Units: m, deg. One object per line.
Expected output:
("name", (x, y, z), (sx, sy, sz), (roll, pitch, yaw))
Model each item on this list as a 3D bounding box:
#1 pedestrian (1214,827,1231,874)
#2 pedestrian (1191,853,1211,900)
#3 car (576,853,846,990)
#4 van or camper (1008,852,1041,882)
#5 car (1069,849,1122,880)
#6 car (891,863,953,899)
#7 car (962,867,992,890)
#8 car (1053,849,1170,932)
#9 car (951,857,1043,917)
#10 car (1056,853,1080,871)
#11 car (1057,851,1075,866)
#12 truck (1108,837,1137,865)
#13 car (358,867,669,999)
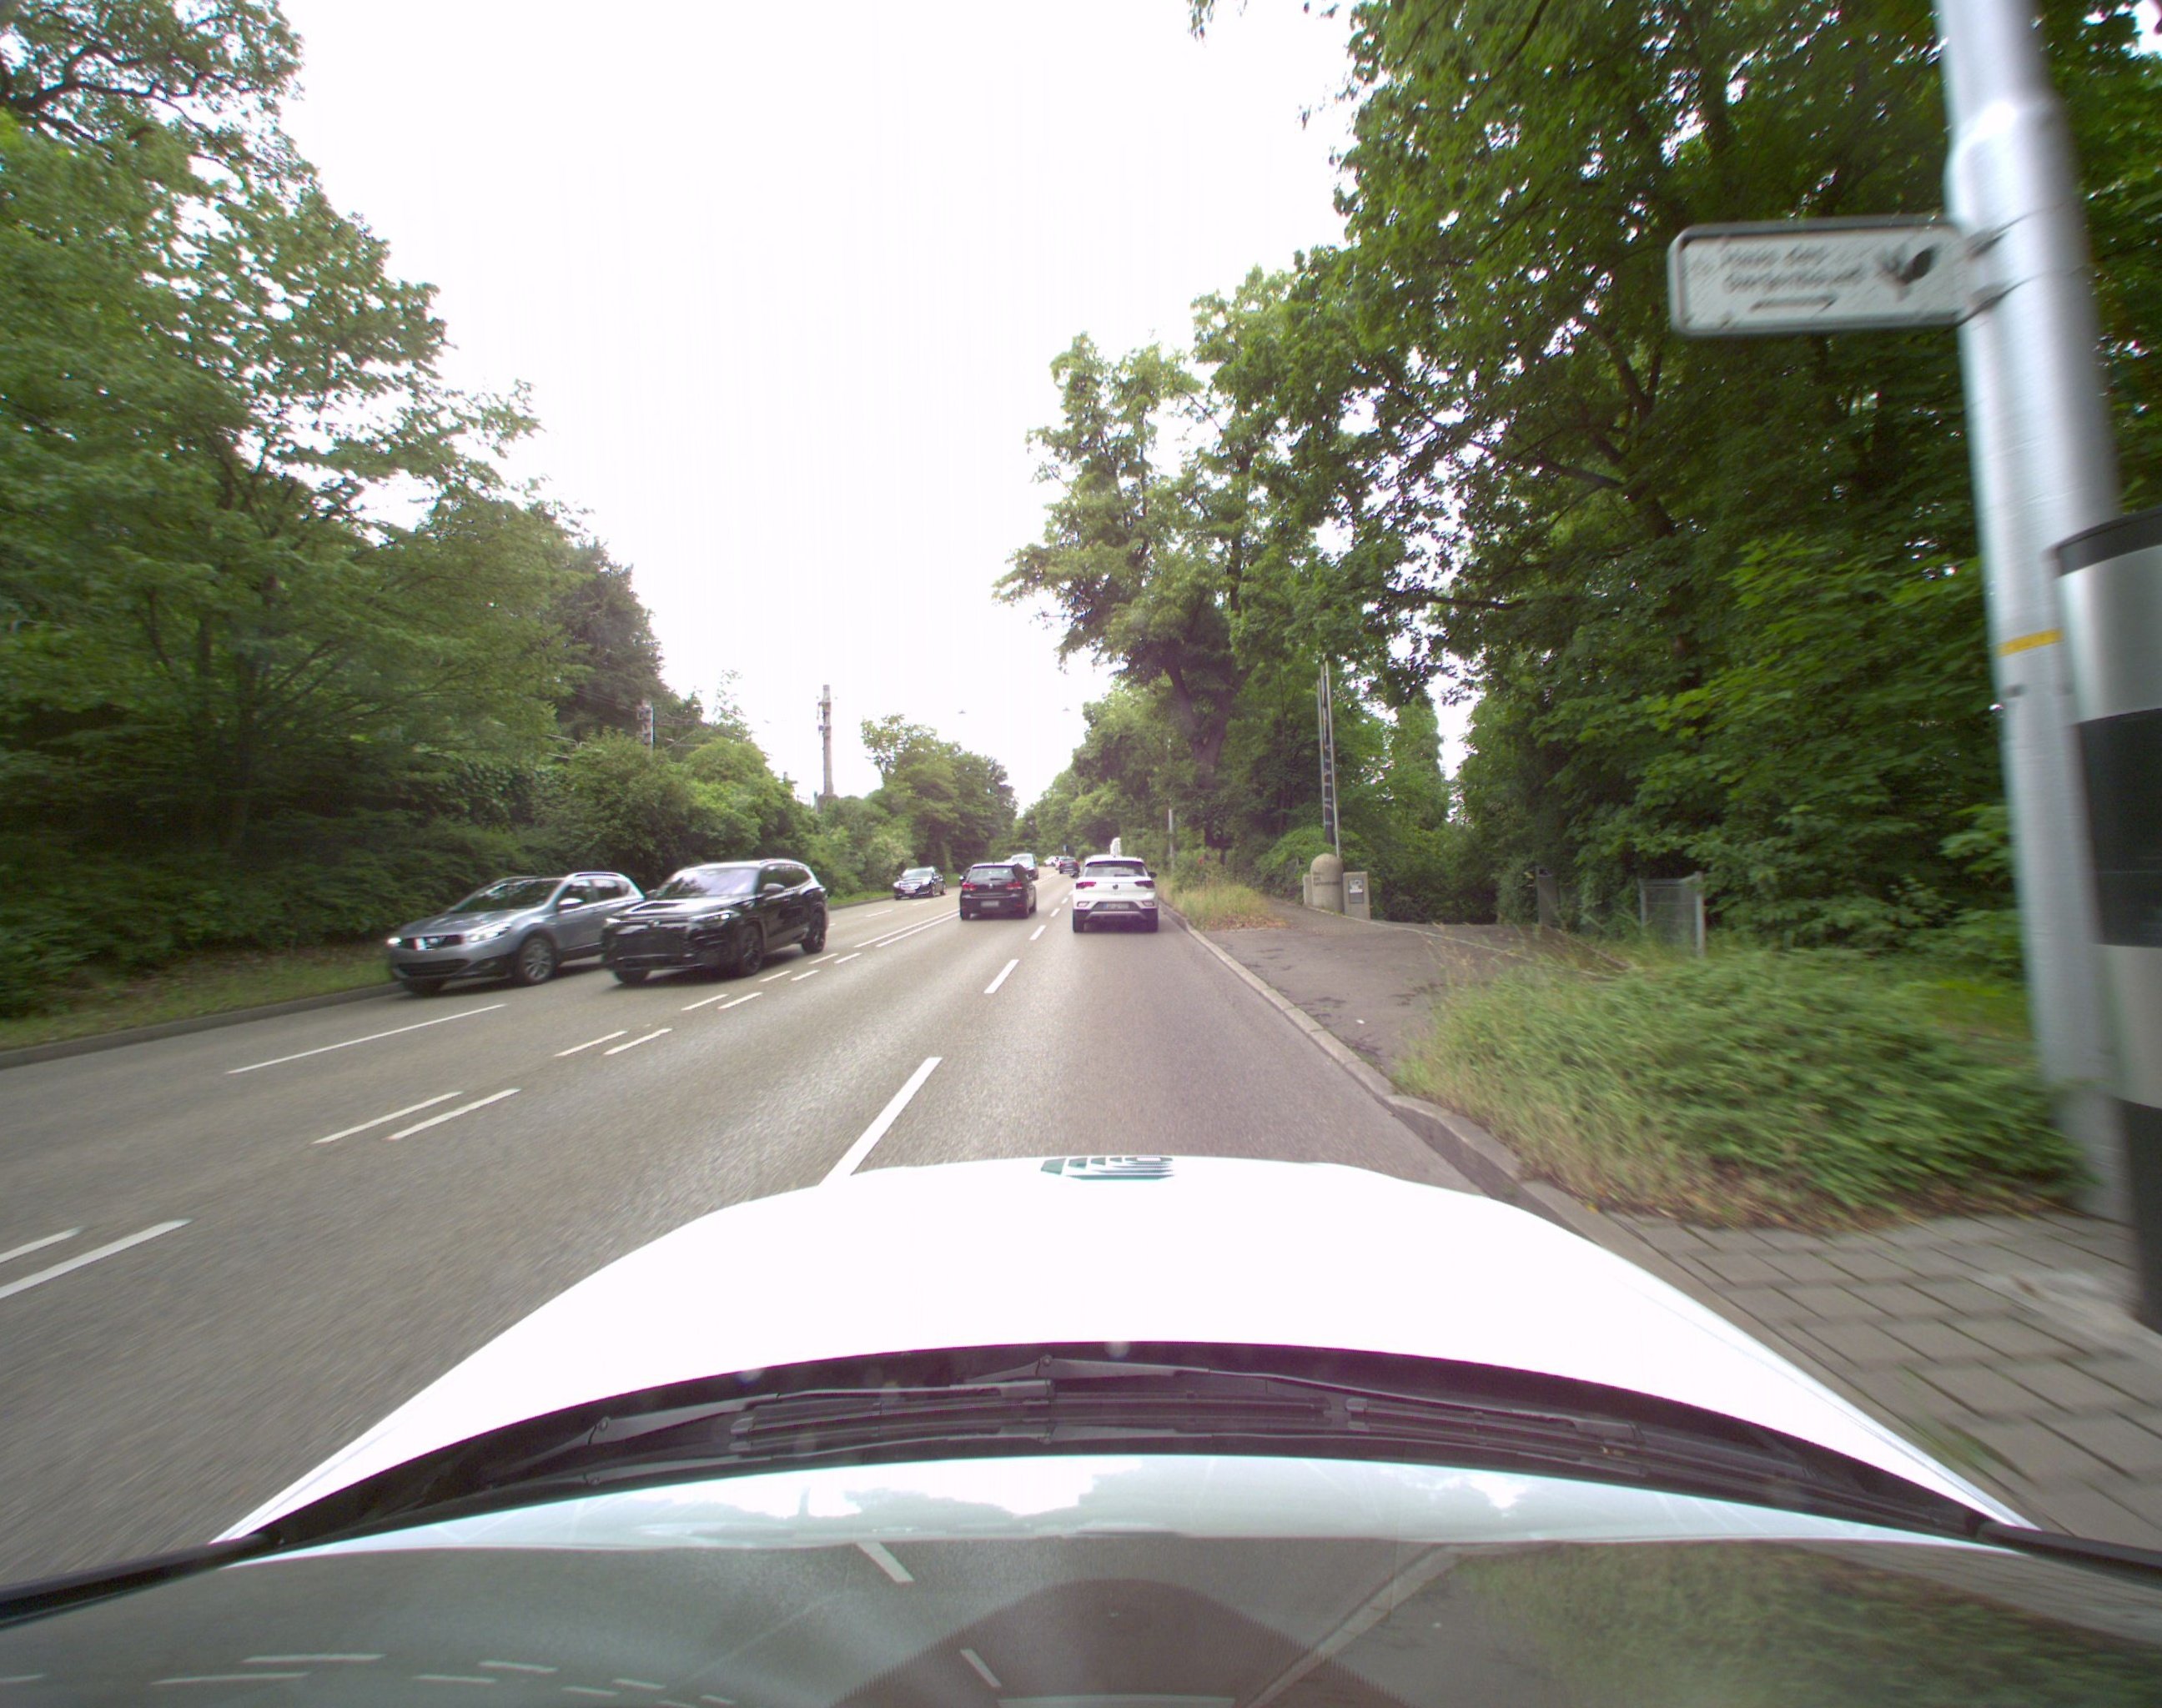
("pedestrian", (5.336, -0.123, 30.786), (0.518, 1.753, 0.524), (-1, -1, -2))
("pedestrian", (4.467, 0.835, 30.370), (0.607, 1.698, 0.548), (-1, -1, -2))
("car", (-5.401, 0.862, 12.767), (1.803, 1.662, 4.832), (-3, 0, 2))
("van or camper", (-4.236, 0.991, 61.812), (1.987, 2.013, 5.367), (-5, -1, 0))
("car", (0.818, 0.663, 50.177), (1.858, 1.702, 3.973), (-5, 1, -20))
("car", (-7.529, 1.234, 38.991), (1.906, 1.468, 4.531), (-3, 0, 2))
("car", (-7.493, 1.744, 59.031), (1.469, 1.596, 4.001), (-1, -1, 2))
("car", (0.539, 0.726, 18.001), (1.998, 1.596, 3.991), (-1, -1, -6))
("car", (-2.176, 0.840, 22.109), (1.942, 1.466, 4.001), (-1, -1, 2))
("car", (-1.146, 0.705, 74.850), (1.986, 1.592, 4.001), (-1, -1, 1))
("car", (-1.683, 0.514, 93.331), (1.815, 1.623, 4.001), (-1, -1, 1))
("truck", (4.730, -0.295, 94.484), (2.477, 3.182, 7.218), (-1, -1, -4))
("car", (-8.540, 1.071, 12.822), (1.784, 1.611, 4.191), (-4, -1, 2))
